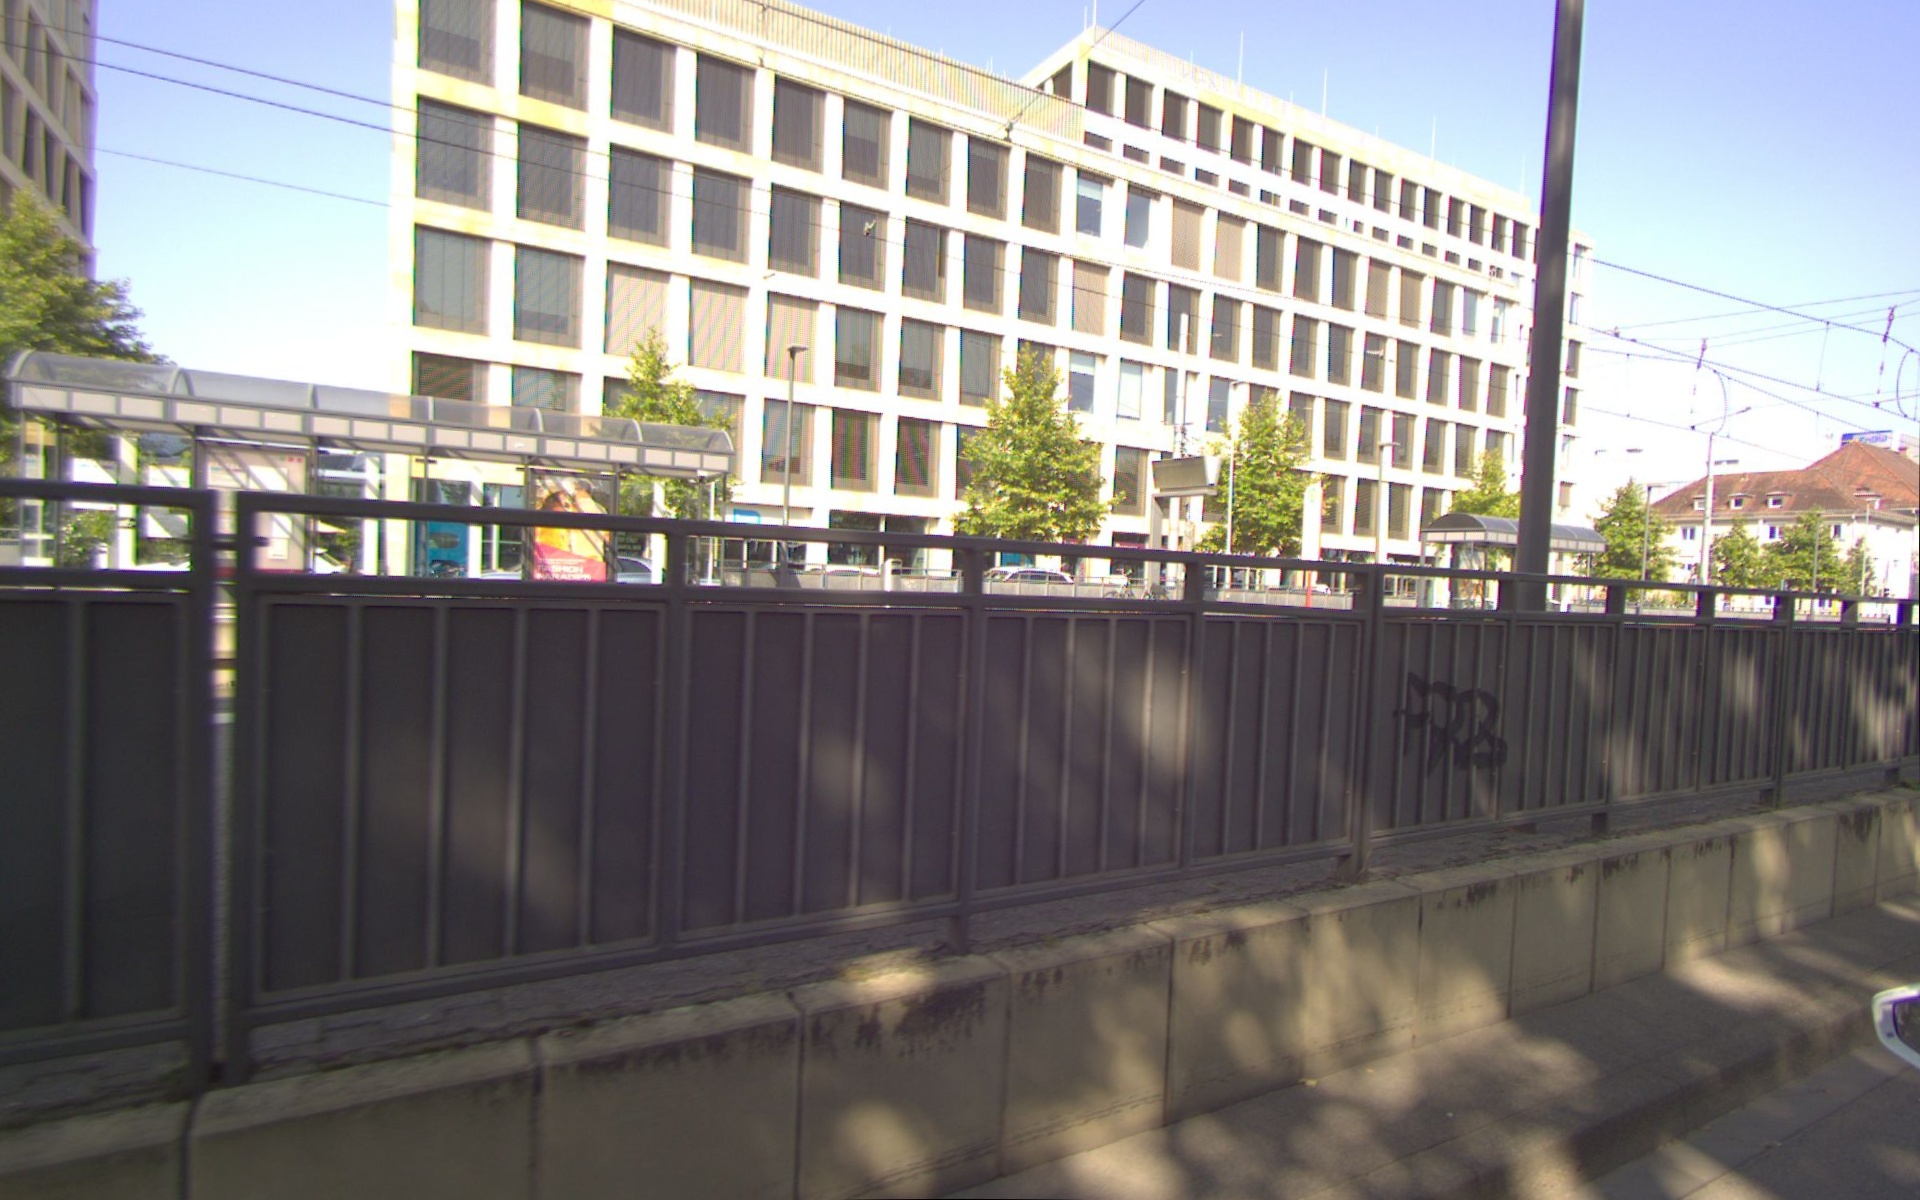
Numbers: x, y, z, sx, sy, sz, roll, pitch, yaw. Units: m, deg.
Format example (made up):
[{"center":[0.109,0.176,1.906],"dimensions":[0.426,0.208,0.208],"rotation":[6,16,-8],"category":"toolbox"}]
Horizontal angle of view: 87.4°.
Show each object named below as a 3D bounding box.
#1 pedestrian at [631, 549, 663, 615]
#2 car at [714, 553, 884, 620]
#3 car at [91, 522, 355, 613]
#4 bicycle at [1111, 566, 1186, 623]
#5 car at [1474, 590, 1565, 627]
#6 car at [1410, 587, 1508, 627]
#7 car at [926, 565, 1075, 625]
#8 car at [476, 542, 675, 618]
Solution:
[{"center":[-9.807,-0.548,31.466],"dimensions":[0.813,2.040,0.560],"rotation":[2,-2,-30],"category":"pedestrian"},{"center":[-4.244,-0.329,26.602],"dimensions":[4.086,1.595,1.754],"rotation":[1,1,-32],"category":"car"},{"center":[-14.546,-0.595,20.153],"dimensions":[4.086,1.595,1.754],"rotation":[1,1,-32],"category":"car"},{"center":[4.008,-0.117,21.363],"dimensions":[1.459,1.163,0.471],"rotation":[2,2,-16],"category":"bicycle"},{"center":[23.956,0.374,42.985],"dimensions":[3.963,1.465,1.701],"rotation":[1,1,-32],"category":"car"},{"center":[20.060,0.295,40.338],"dimensions":[3.963,1.465,1.701],"rotation":[1,1,-32],"category":"car"},{"center":[1.217,-0.136,29.679],"dimensions":[4.086,1.624,1.754],"rotation":[1,1,-32],"category":"car"},{"center":[-8.955,-0.424,23.484],"dimensions":[4.086,1.595,1.754],"rotation":[1,1,-32],"category":"car"}]
